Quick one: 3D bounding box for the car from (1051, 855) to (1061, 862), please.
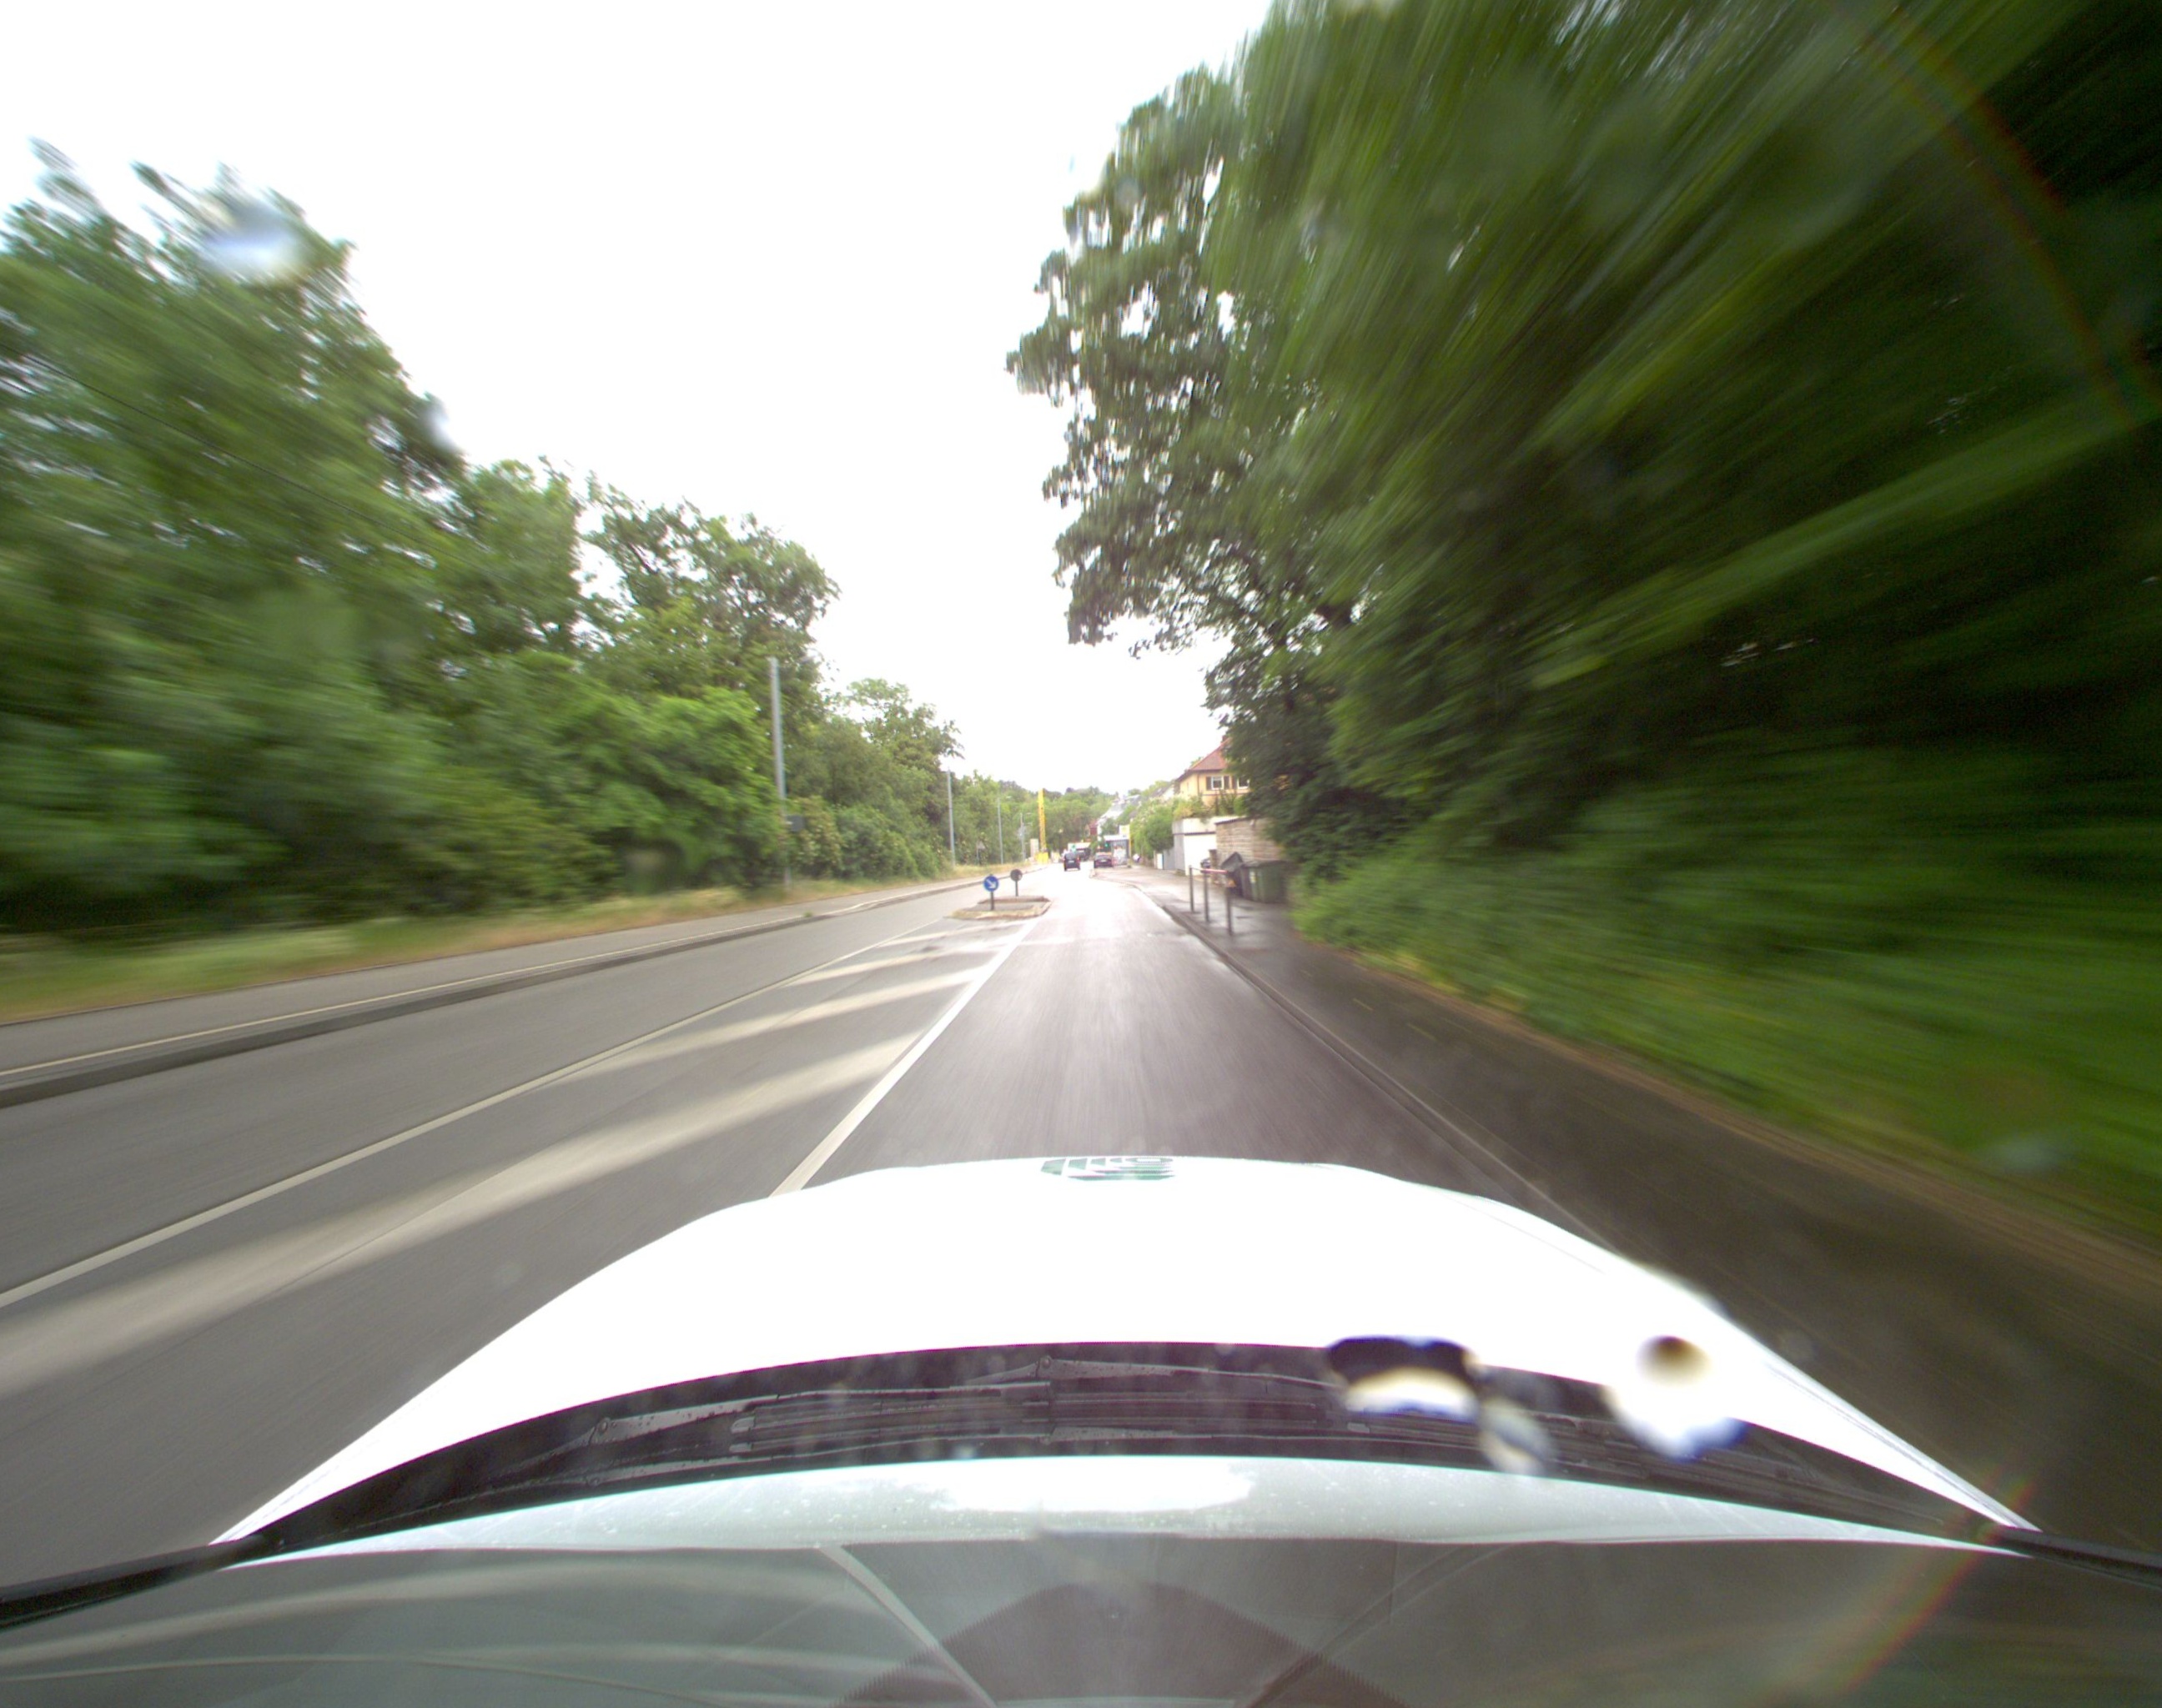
[{"bbox_3d":[-5.897,1.063,192.730,1.741,1.552,3.839,-1,0,-12],"label":"car"}]

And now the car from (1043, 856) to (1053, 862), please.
[{"bbox_3d":[-7.953,1.241,198.592,1.741,1.552,3.839,-2,0,-13],"label":"car"}]

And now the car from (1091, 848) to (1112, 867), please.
[{"bbox_3d":[2.041,0.364,81.704,1.986,1.772,4.116,-1,0,1],"label":"car"}]

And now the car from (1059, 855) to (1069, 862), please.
[{"bbox_3d":[-3.909,1.051,186.983,1.741,1.552,3.839,-2,0,-13],"label":"car"}]

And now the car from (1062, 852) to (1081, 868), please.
[{"bbox_3d":[-0.963,0.631,83.719,1.661,1.594,3.684,-2,0,2],"label":"car"}]

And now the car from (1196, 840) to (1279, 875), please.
[{"bbox_3d":[7.705,0.171,40.223,3.758,1.552,1.609,-2,0,-1],"label":"car"}]
